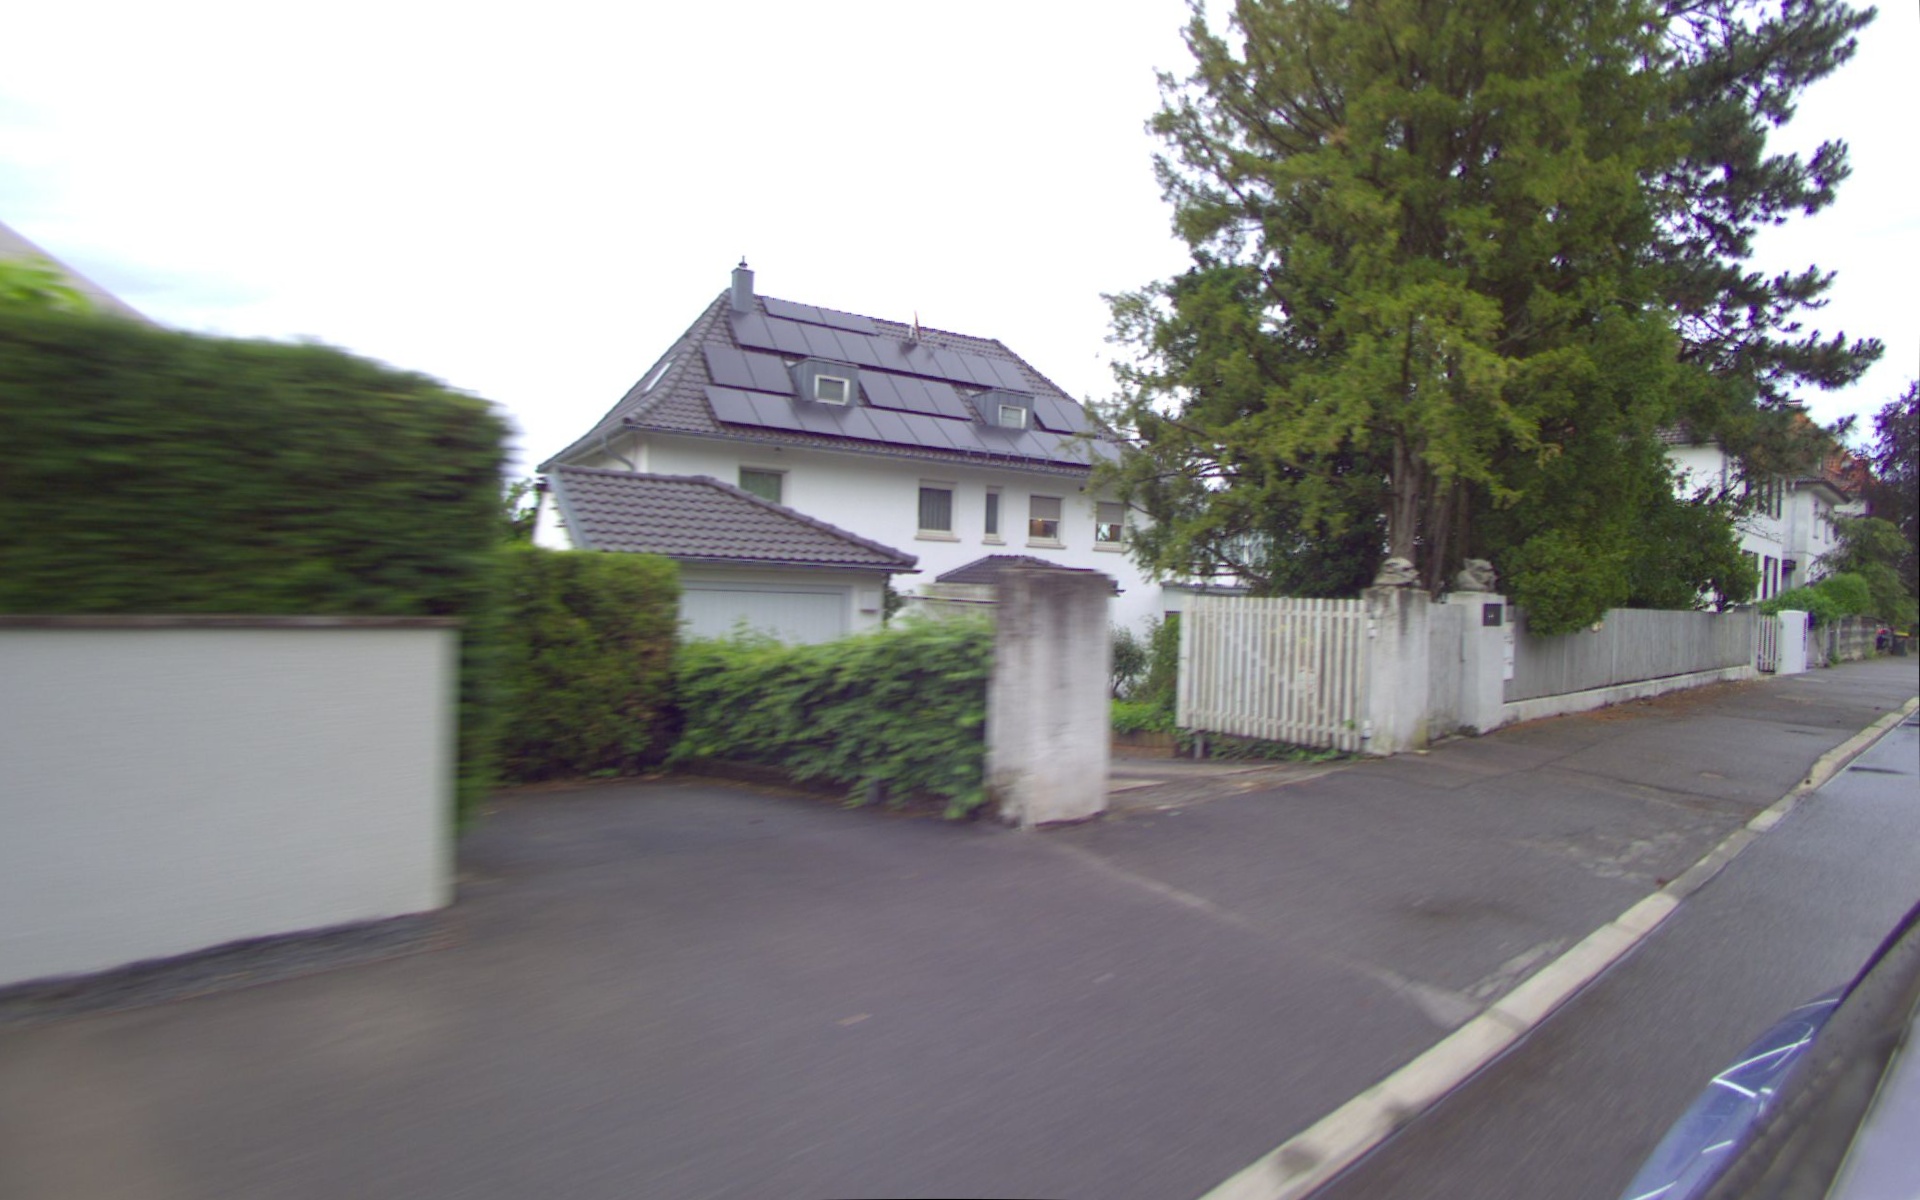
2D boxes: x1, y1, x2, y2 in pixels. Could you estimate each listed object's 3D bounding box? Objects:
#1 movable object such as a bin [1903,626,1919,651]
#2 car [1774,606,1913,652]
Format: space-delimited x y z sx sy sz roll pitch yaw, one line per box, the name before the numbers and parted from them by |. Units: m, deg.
movable object such as a bin | 38.041 1.529 40.455 0.495 0.968 0.494 4 -3 -45
car | 34.855 1.126 39.987 1.885 1.661 3.991 4 -2 -43
